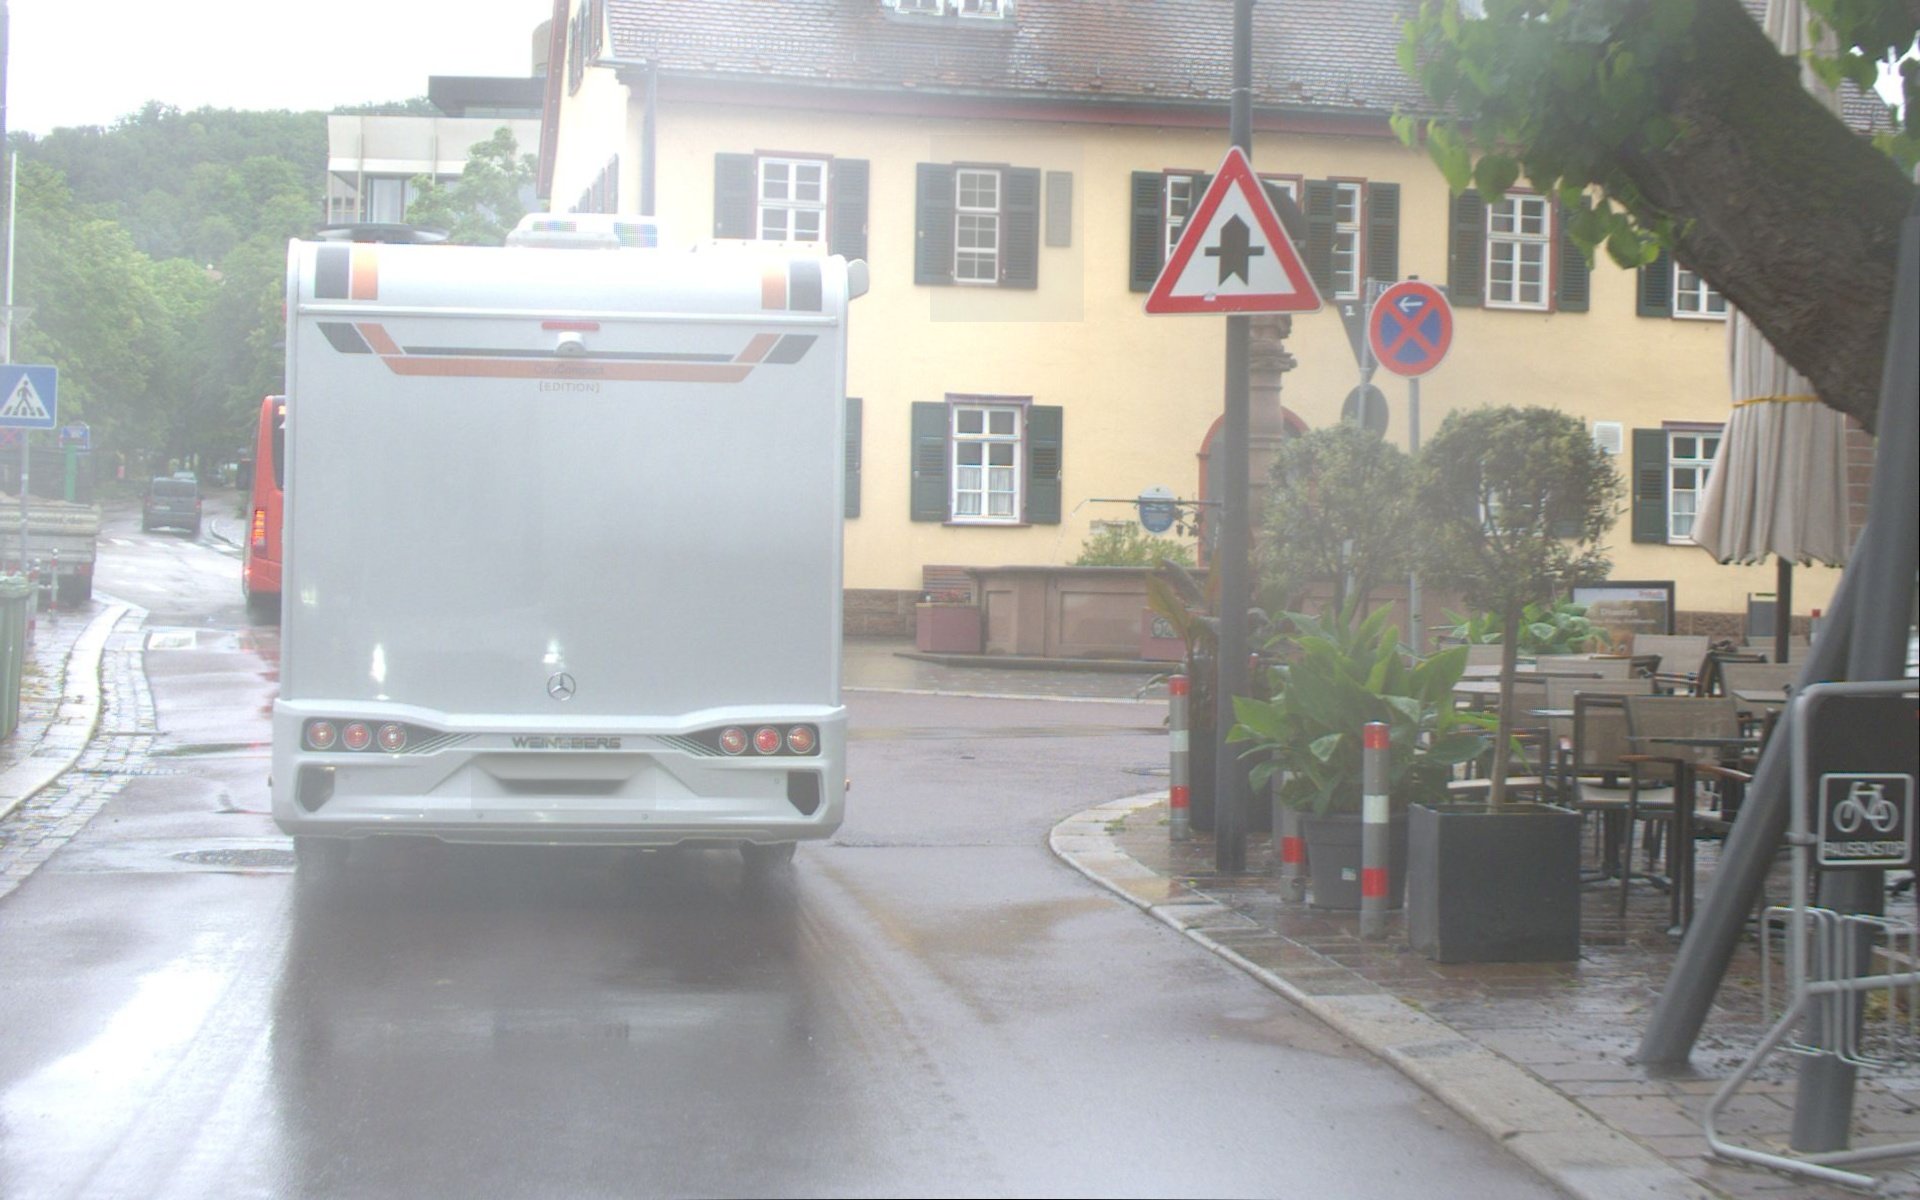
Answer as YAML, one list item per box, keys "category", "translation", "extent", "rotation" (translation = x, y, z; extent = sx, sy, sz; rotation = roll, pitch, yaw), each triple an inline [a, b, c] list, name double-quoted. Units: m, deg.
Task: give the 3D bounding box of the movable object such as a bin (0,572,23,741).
- category: "movable object such as a bin"
  translation: [-6.355, 0.346, 21.631]
  extent: [0.818, 1.047, 0.700]
  rotation: [1, -1, -11]

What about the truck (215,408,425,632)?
- category: "truck"
  translation: [-9.155, -1.038, 48.731]
  extent: [2.461, 2.929, 6.199]
  rotation: [1, -1, -15]

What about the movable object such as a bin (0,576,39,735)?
- category: "movable object such as a bin"
  translation: [-6.620, 0.355, 23.040]
  extent: [0.765, 1.047, 0.524]
  rotation: [3, -1, -11]

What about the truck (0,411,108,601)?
- category: "truck"
  translation: [-14.462, -1.383, 53.421]
  extent: [2.279, 2.748, 5.570]
  rotation: [1, -1, -15]

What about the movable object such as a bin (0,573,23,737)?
- category: "movable object such as a bin"
  translation: [-6.499, 0.350, 22.278]
  extent: [0.765, 1.047, 0.524]
  rotation: [1, -1, -11]

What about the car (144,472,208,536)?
- category: "car"
  translation: [-26.629, -3.228, 116.714]
  extent: [1.993, 2.007, 4.001]
  rotation: [1, -1, -14]

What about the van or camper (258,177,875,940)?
- category: "van or camper"
  translation: [-1.987, -0.121, 16.423]
  extent: [2.325, 2.909, 6.394]
  rotation: [1, -1, -9]
